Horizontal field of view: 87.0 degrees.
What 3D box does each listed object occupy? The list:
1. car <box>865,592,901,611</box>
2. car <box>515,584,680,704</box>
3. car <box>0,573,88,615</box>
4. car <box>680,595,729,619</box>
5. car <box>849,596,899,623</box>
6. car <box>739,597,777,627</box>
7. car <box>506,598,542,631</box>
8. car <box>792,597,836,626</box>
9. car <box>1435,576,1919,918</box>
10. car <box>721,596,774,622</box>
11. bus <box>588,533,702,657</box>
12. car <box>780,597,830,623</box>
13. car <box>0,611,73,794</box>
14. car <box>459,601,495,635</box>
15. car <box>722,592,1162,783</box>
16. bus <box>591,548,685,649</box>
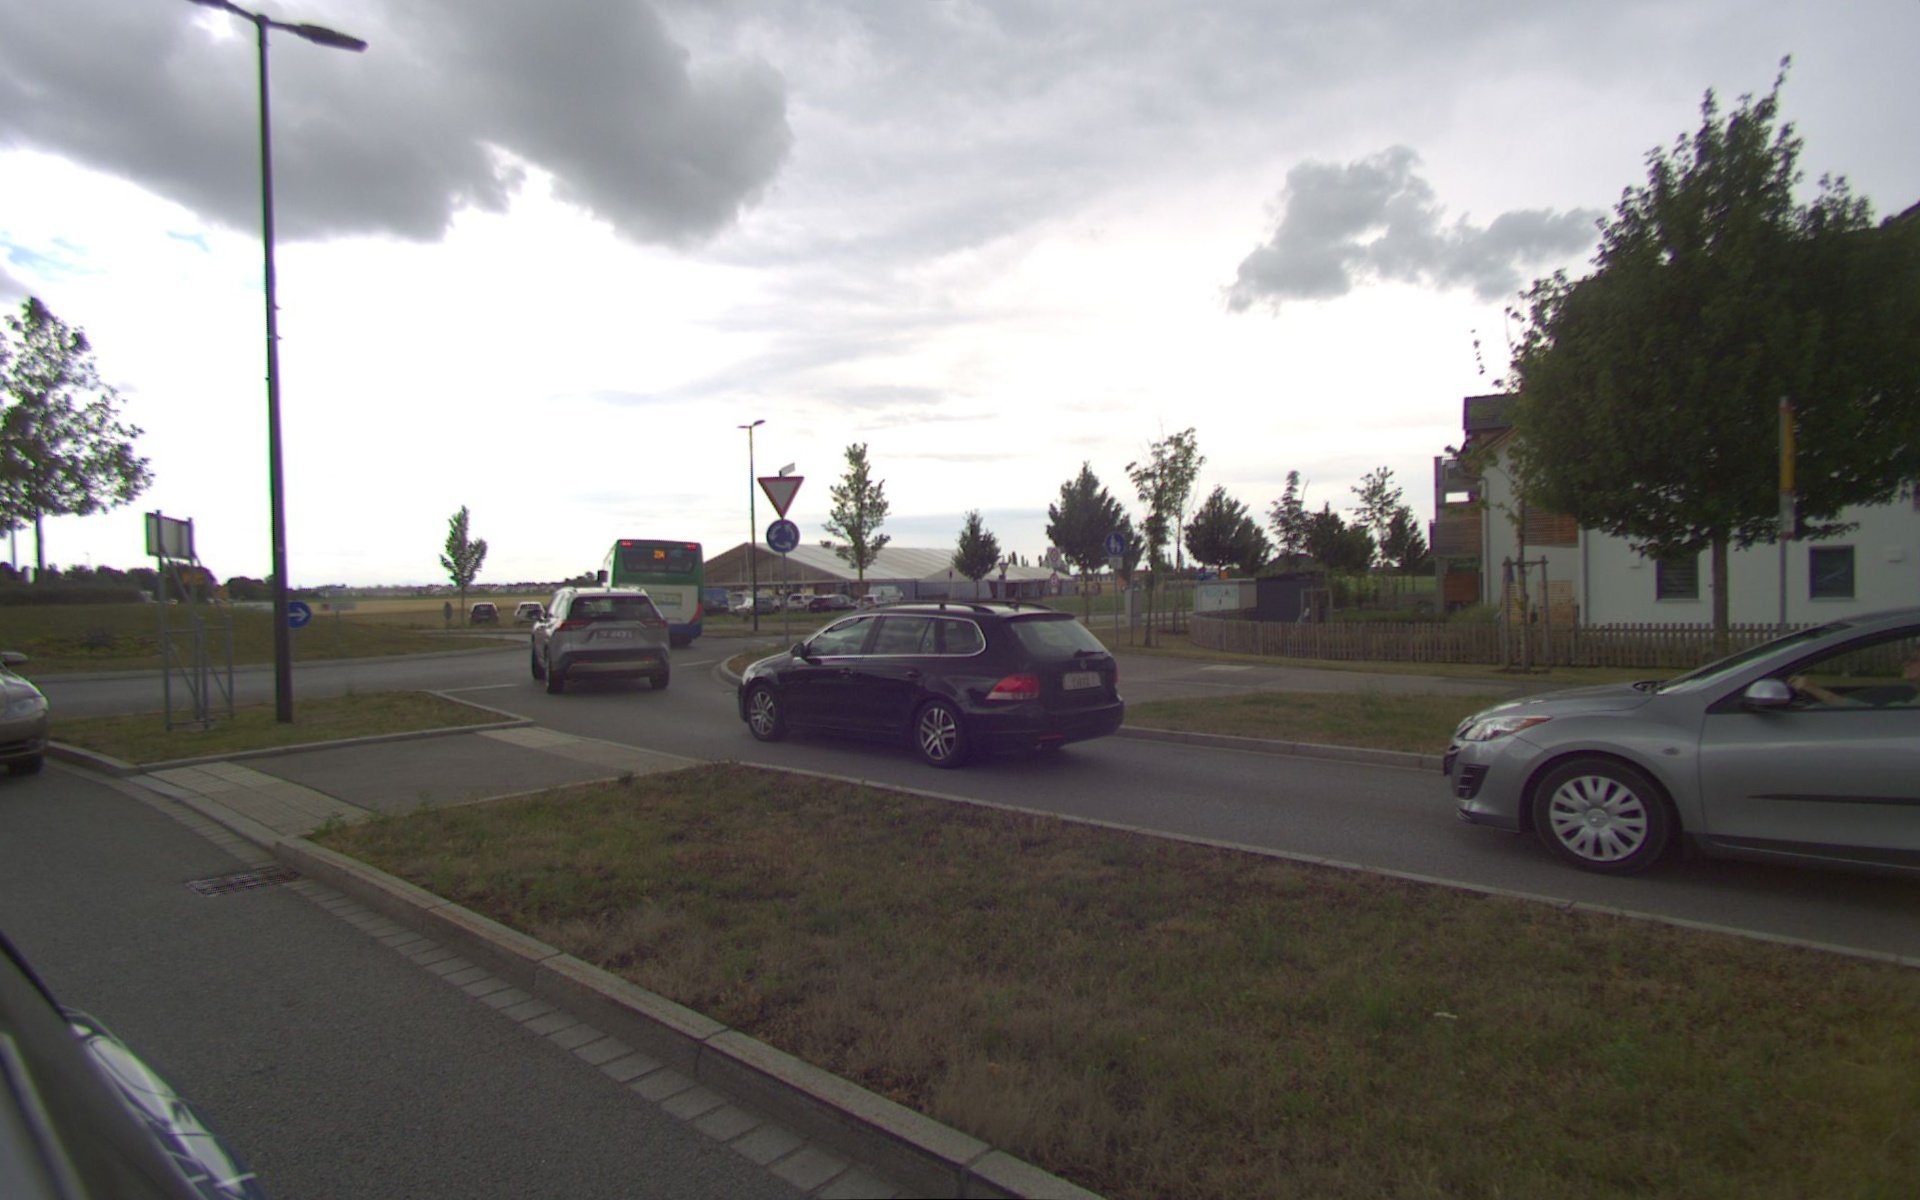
[{"bbox_3d":[-8.532,0.186,112.658,1.991,2.029,4.524,-1,-1,28],"label":"car"},{"bbox_3d":[-6.200,0.622,16.978,1.800,1.735,4.413,0,0,-30],"label":"car"},{"bbox_3d":[-39.278,-0.212,42.826,1.967,1.697,4.010,0,-1,-13],"label":"car"},{"bbox_3d":[-21.850,0.609,86.739,1.991,2.029,3.962,-1,-1,28],"label":"car"},{"bbox_3d":[-6.583,0.741,77.992,1.991,2.029,3.962,-1,-1,28],"label":"car"},{"bbox_3d":[-14.350,0.839,71.690,1.965,2.029,4.013,0,-1,-22],"label":"car"},{"bbox_3d":[-27.391,0.908,63.545,1.965,2.029,4.013,0,-1,-25],"label":"car"},{"bbox_3d":[-10.456,0.823,72.276,2.194,2.029,4.013,0,-1,-22],"label":"car"},{"bbox_3d":[4.880,0.647,5.053,4.213,1.500,1.807,-1,-1,41],"label":"car"},{"bbox_3d":[-16.975,0.746,80.991,1.993,2.029,3.957,-1,-1,32],"label":"car"},{"bbox_3d":[-9.456,-0.104,30.505,2.942,3.305,6.504,0,-1,-17],"label":"bus"},{"bbox_3d":[-12.255,0.807,80.254,1.991,2.029,3.962,-1,-1,28],"label":"car"},{"bbox_3d":[-9.702,0.844,8.934,3.985,1.477,1.684,0,0,31],"label":"car"},{"bbox_3d":[-29.839,1.079,62.633,1.965,2.029,4.013,0,-1,-25],"label":"car"},{"bbox_3d":[-0.351,0.720,10.096,4.336,1.500,1.806,-1,-1,42],"label":"car"},{"bbox_3d":[-11.652,-0.004,36.792,2.942,3.305,6.722,0,-1,-17],"label":"bus"}]
